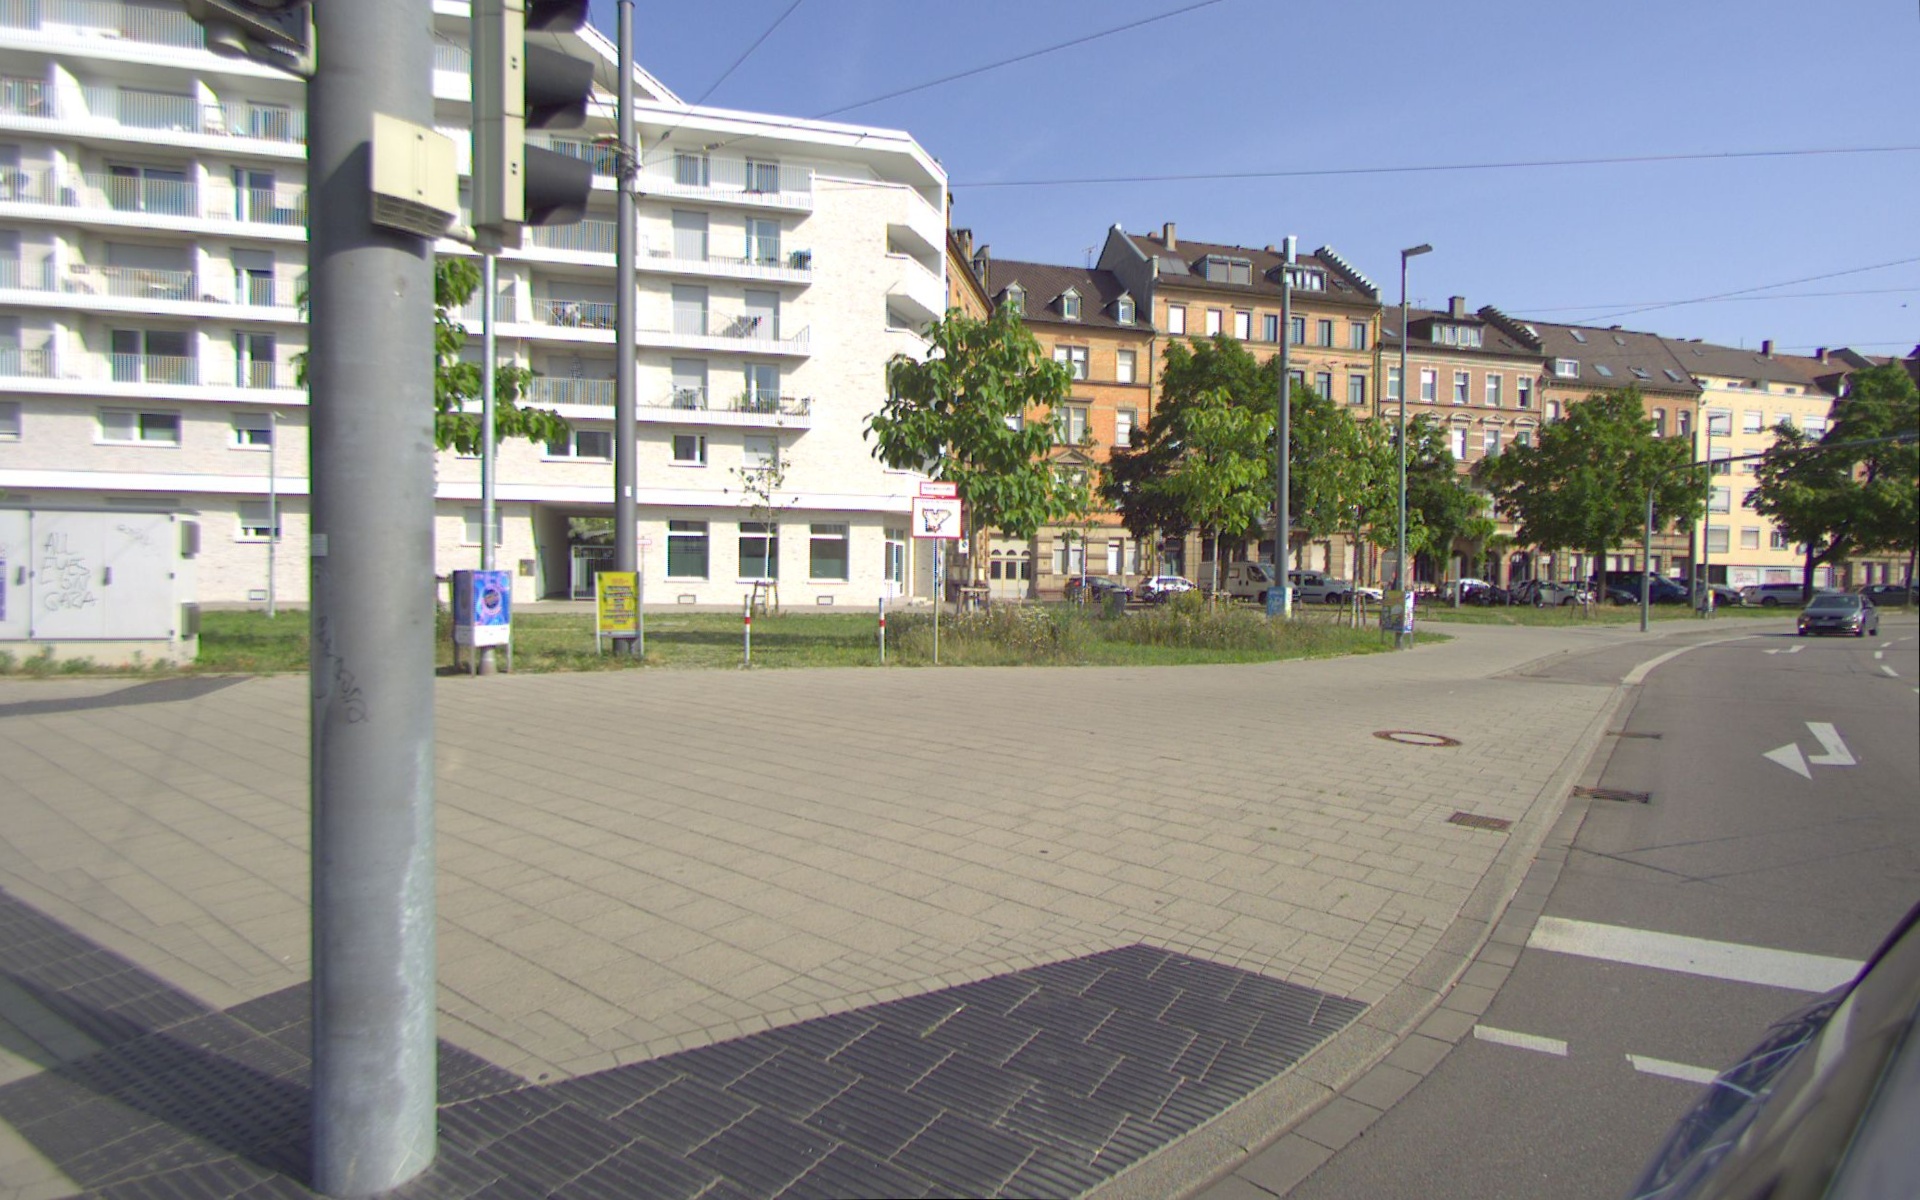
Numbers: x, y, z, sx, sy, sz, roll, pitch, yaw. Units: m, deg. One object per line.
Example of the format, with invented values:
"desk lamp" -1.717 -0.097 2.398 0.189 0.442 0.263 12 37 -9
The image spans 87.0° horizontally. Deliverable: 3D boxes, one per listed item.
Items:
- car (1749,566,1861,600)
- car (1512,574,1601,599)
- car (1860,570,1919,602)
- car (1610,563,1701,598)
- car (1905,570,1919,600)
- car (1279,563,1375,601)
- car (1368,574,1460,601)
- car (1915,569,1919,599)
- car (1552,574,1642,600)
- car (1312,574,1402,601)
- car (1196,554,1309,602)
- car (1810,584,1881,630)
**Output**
"car" 48.956 -1.008 58.723 1.692 1.787 4.732 0 3 -42
"car" 31.543 -0.724 53.592 3.840 1.264 1.696 2 2 41
"car" 56.520 -0.802 59.878 1.692 1.787 4.732 0 3 -42
"car" 37.501 -1.065 54.621 3.843 1.828 1.758 2 2 43
"car" 59.605 -0.824 60.451 4.401 1.787 1.697 3 3 40
"car" 17.741 -0.889 48.963 3.967 1.727 1.853 2 2 41
"car" 22.603 -0.658 50.453 3.840 1.264 1.696 2 2 41
"car" 61.962 -0.896 61.870 4.898 1.860 1.700 3 3 36
"car" 33.979 -0.712 54.009 3.840 1.264 1.696 2 2 41
"car" 19.631 -0.629 50.108 3.840 1.264 1.696 2 2 41
"car" 14.047 -1.090 48.867 1.848 2.205 5.037 0 2 -42
"car" 29.558 0.184 33.759 1.639 1.437 3.834 1 2 43
